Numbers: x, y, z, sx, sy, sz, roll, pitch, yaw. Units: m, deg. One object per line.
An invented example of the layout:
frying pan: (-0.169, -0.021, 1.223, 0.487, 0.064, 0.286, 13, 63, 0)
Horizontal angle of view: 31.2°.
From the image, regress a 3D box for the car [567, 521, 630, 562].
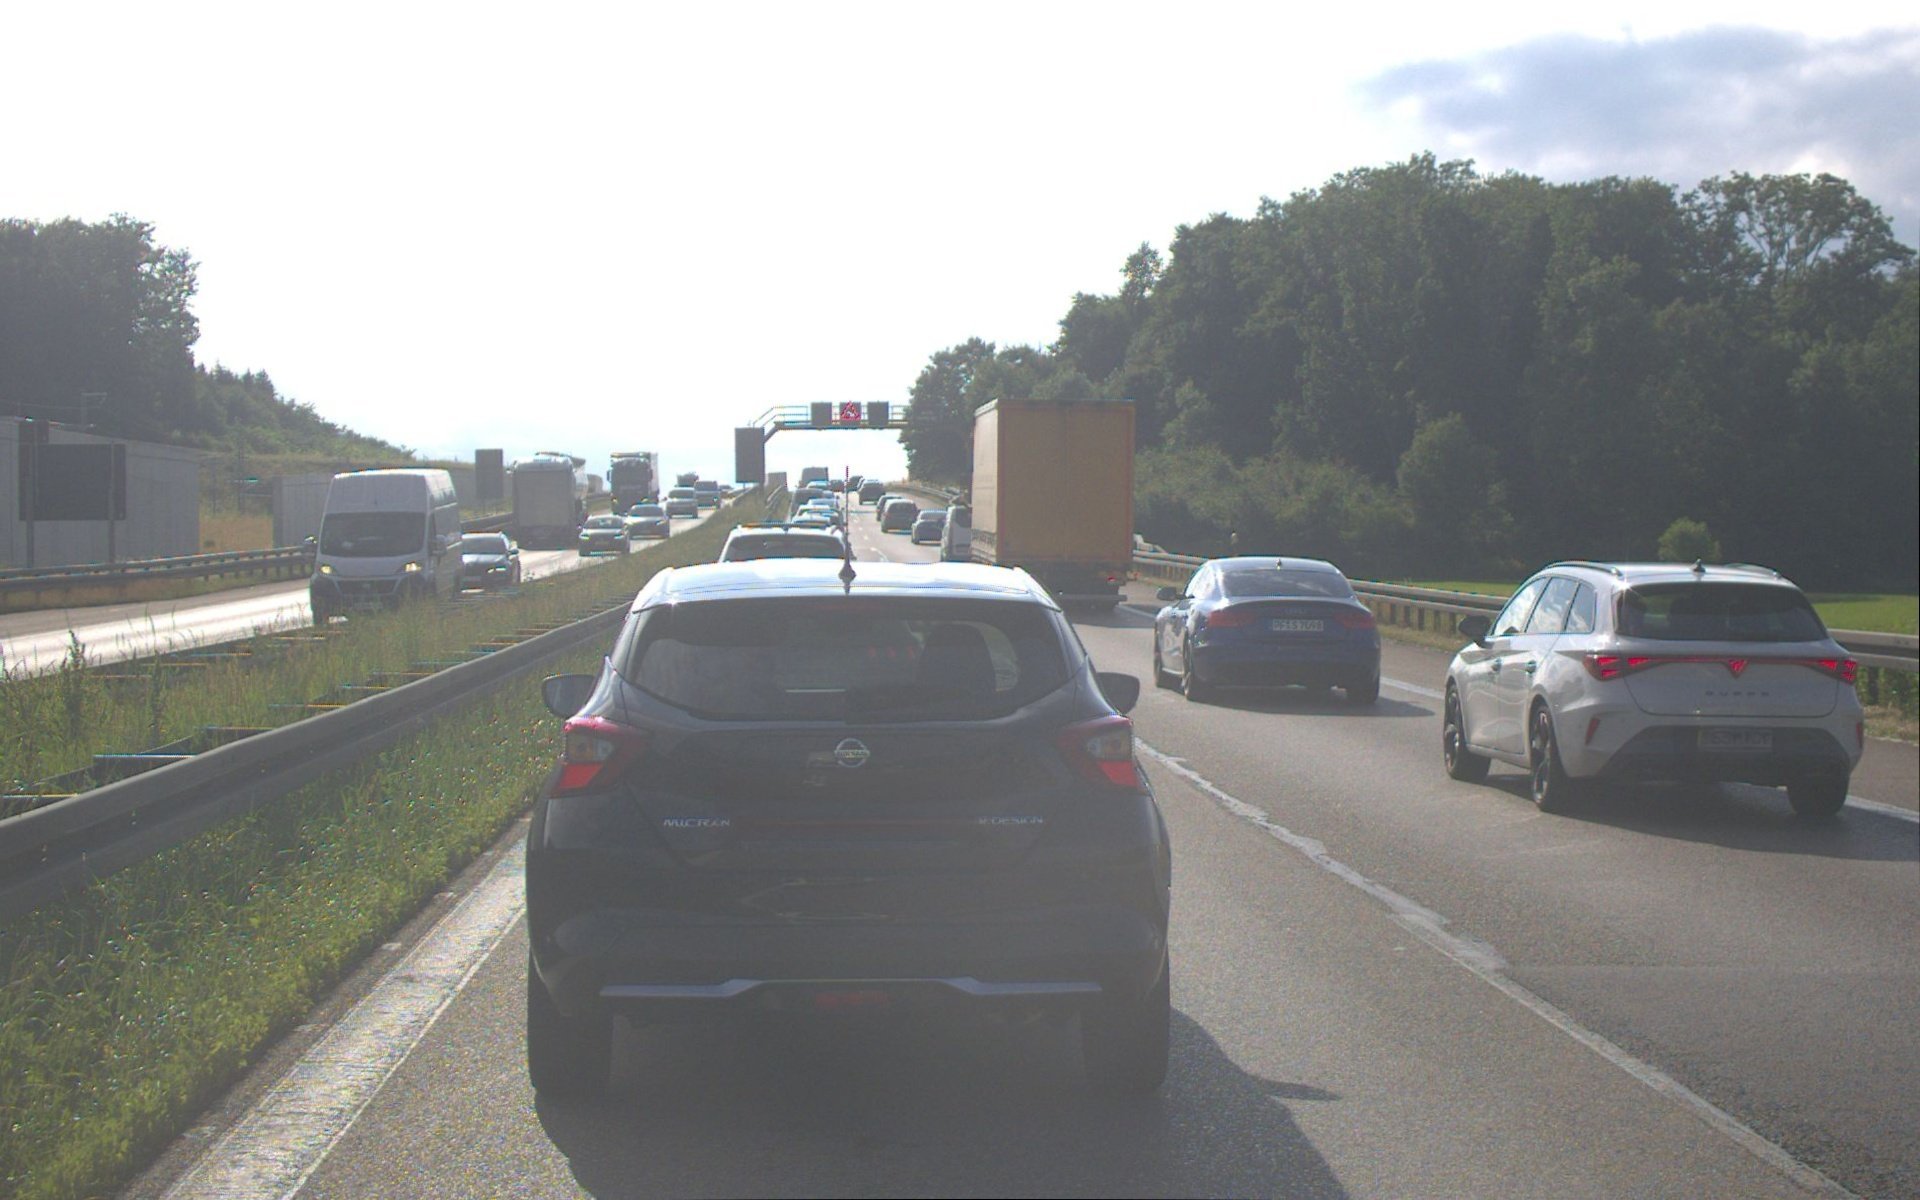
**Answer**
car: (-13.632, -2.186, 129.804, 1.993, 1.481, 4.398, 1, 1, -1)

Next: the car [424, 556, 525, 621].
car: (-11.708, -0.291, 83.121, 1.843, 1.503, 4.551, 1, 1, -1)

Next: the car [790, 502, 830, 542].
car: (-7.746, -4.025, 177.623, 1.993, 2.007, 4.001, 1, 1, -3)

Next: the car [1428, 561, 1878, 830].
car: (4.040, 0.501, 20.700, 1.620, 1.440, 4.147, 1, 0, -4)

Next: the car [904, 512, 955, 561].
car: (-1.313, -2.692, 146.121, 1.993, 2.007, 4.001, 1, 1, -3)

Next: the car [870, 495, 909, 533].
car: (-3.918, -4.780, 190.876, 1.993, 2.007, 4.001, 1, 1, -3)

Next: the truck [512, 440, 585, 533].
truck: (-17.587, -4.819, 147.260, 2.552, 3.785, 5.418, -1, 1, -2)

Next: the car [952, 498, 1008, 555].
car: (0.610, -2.297, 107.929, 1.667, 1.748, 3.327, 1, 1, -1)

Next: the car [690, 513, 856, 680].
car: (-1.997, -0.055, 37.547, 1.674, 1.720, 3.596, 1, 0, -1)

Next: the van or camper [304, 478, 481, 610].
van or camper: (-10.042, -0.974, 61.276, 2.166, 2.198, 6.259, 1, 1, -1)

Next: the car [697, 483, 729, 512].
car: (-17.147, -7.109, 238.729, 1.993, 1.877, 4.787, -2, 1, -2)

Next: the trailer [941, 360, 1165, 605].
trailer: (1.675, -2.219, 69.482, 3.548, 4.442, 12.723, 1, 1, -3)

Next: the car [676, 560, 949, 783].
car: (-0.949, 0.429, 23.071, 1.674, 1.362, 3.596, 1, 0, -1)

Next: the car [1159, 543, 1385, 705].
car: (2.997, 0.205, 33.773, 1.747, 1.470, 4.147, 1, 0, -1)

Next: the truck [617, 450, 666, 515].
truck: (-20.774, -7.639, 224.498, 2.754, 4.076, 6.954, 0, 1, -2)

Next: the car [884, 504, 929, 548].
car: (-2.573, -3.532, 164.323, 1.993, 2.007, 4.001, 1, 1, -3)

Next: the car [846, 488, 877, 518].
car: (-6.834, -6.687, 237.963, 1.993, 2.007, 4.001, 1, 1, -3)

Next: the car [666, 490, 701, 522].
car: (-16.672, -5.672, 207.237, 1.860, 1.827, 4.281, 1, 1, -2)

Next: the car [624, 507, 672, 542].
car: (-14.149, -3.433, 156.076, 1.803, 1.511, 4.691, 1, 1, -1)

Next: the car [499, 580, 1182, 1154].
car: (-0.321, 0.665, 10.374, 1.710, 1.421, 3.378, 1, 0, -1)
